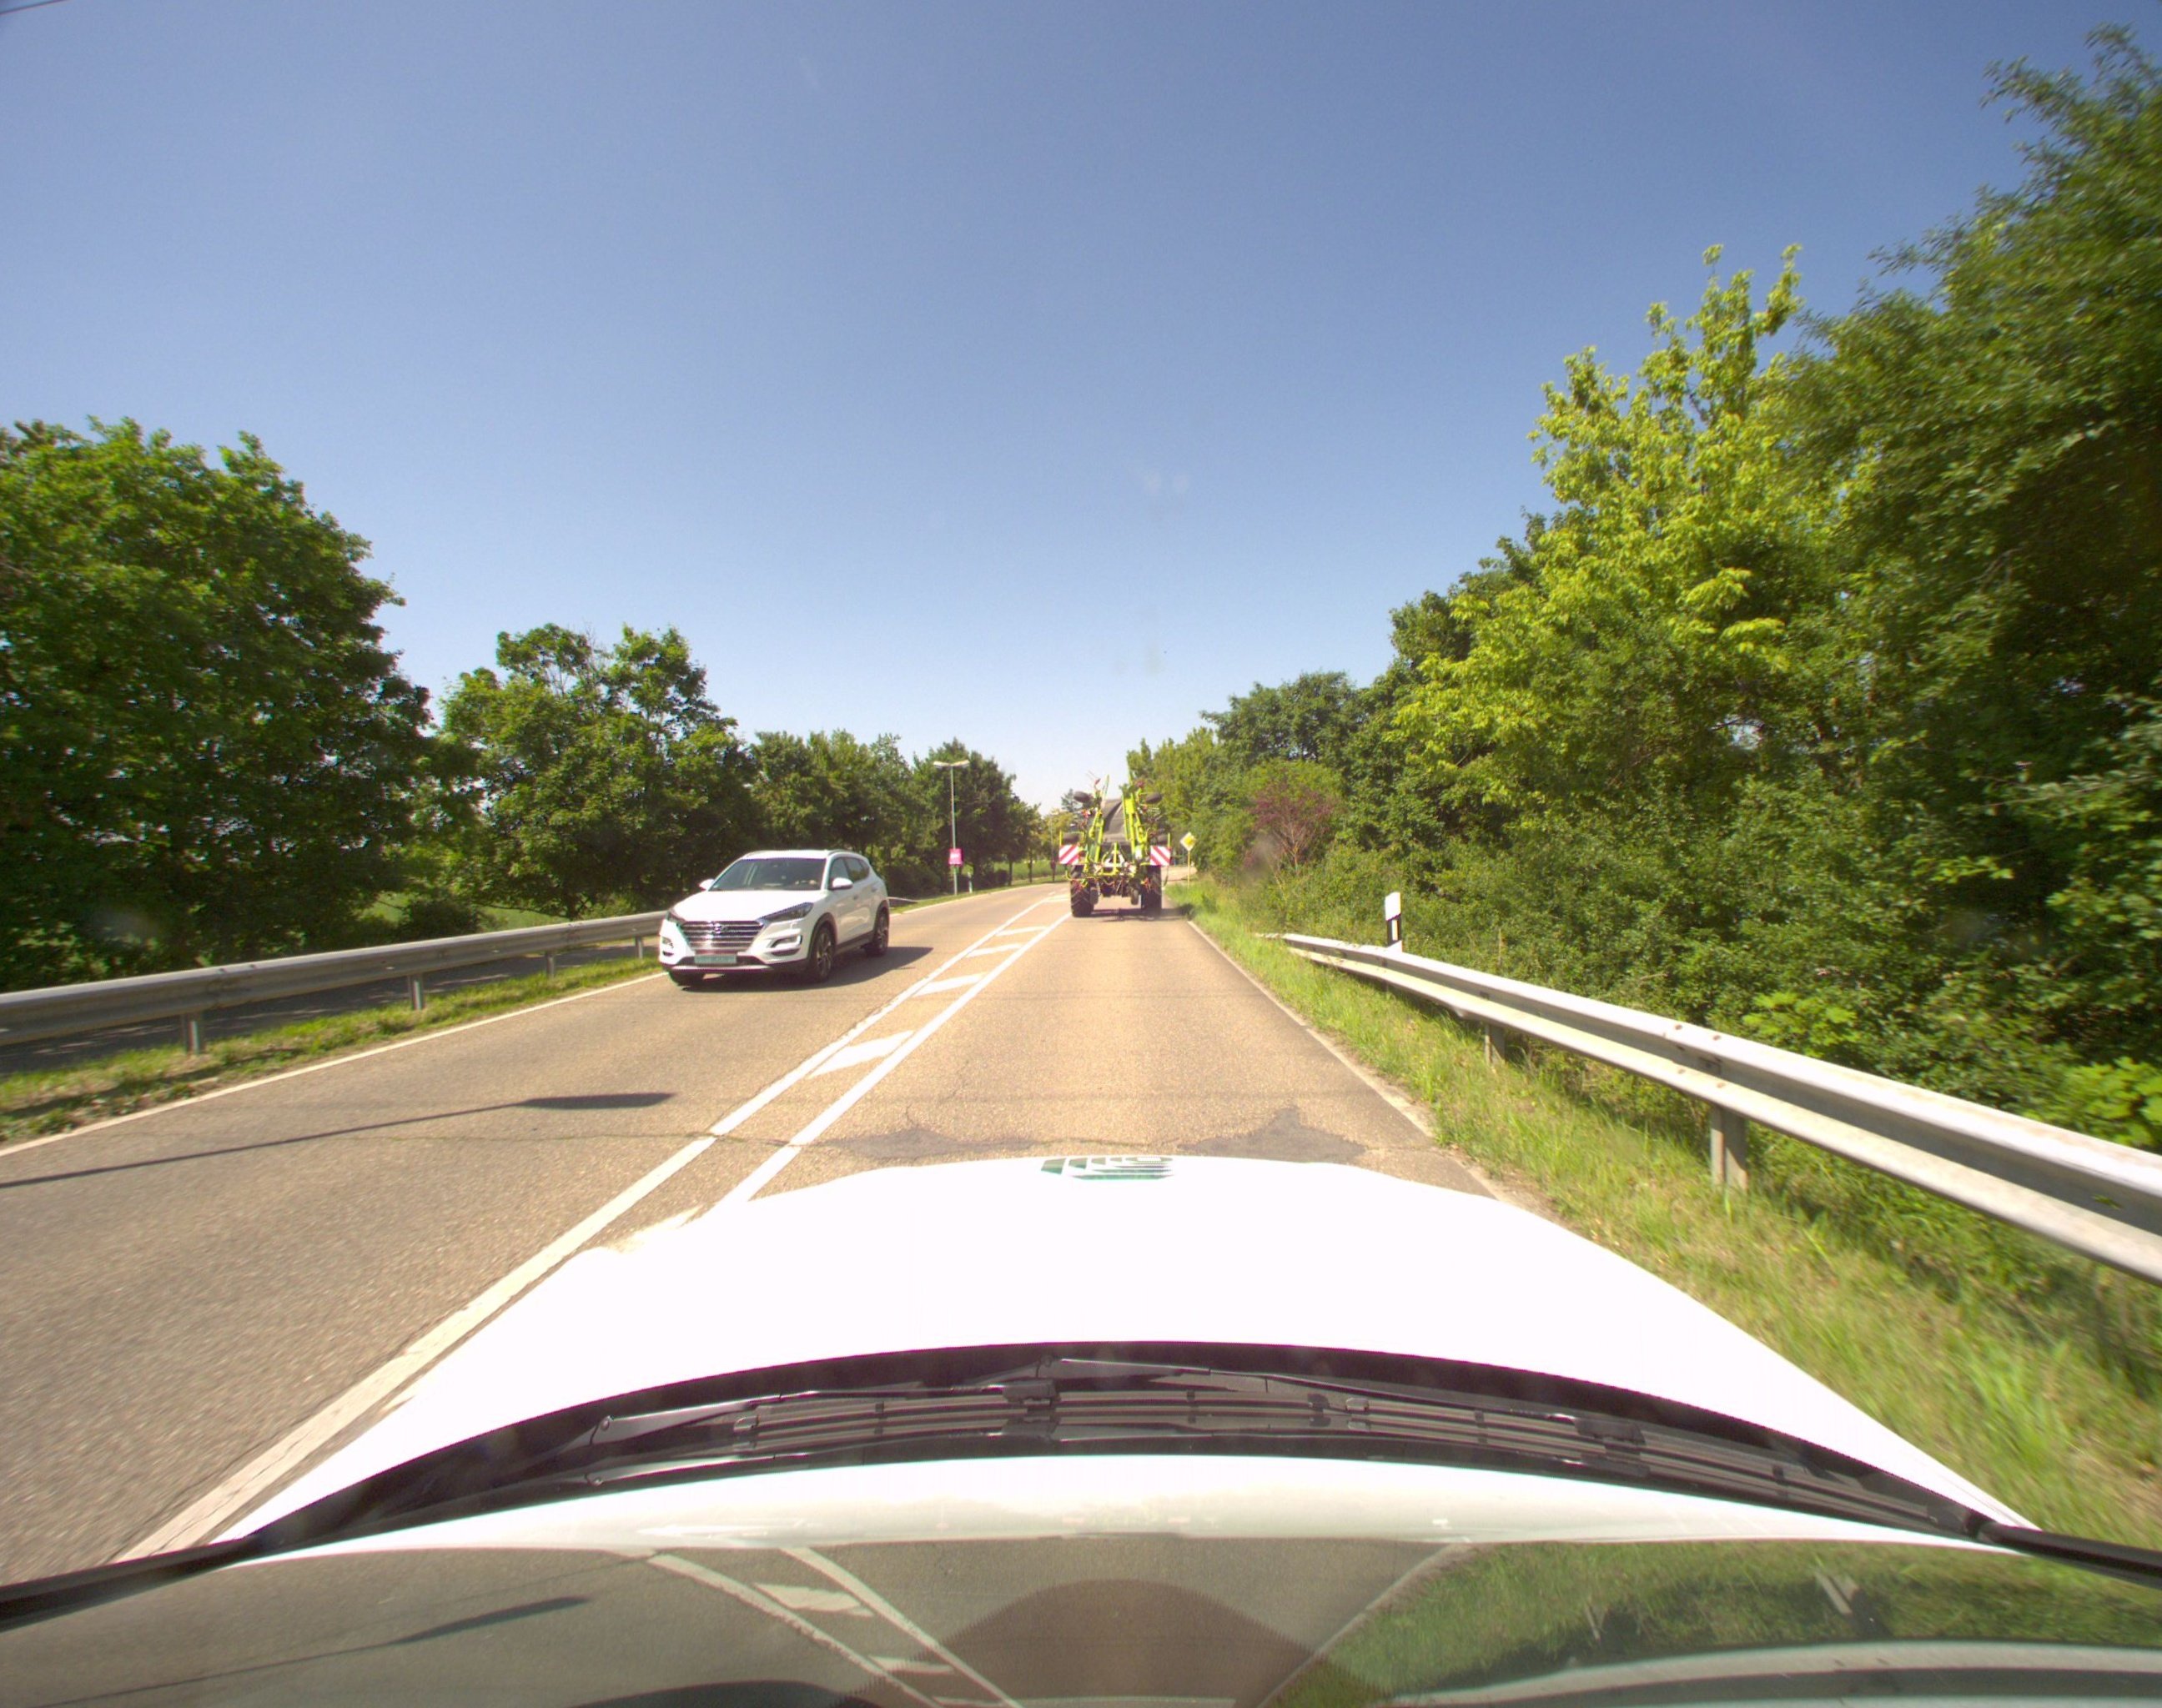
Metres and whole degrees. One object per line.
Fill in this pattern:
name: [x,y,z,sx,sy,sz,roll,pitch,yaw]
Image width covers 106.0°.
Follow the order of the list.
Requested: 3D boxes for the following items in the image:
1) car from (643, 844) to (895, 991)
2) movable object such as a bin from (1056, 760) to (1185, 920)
car: [-4.013,0.714,11.319,1.817,1.640,4.142,-1,0,1]
movable object such as a bin: [1.021,-0.322,23.085,2.842,3.541,9.704,-1,0,2]
